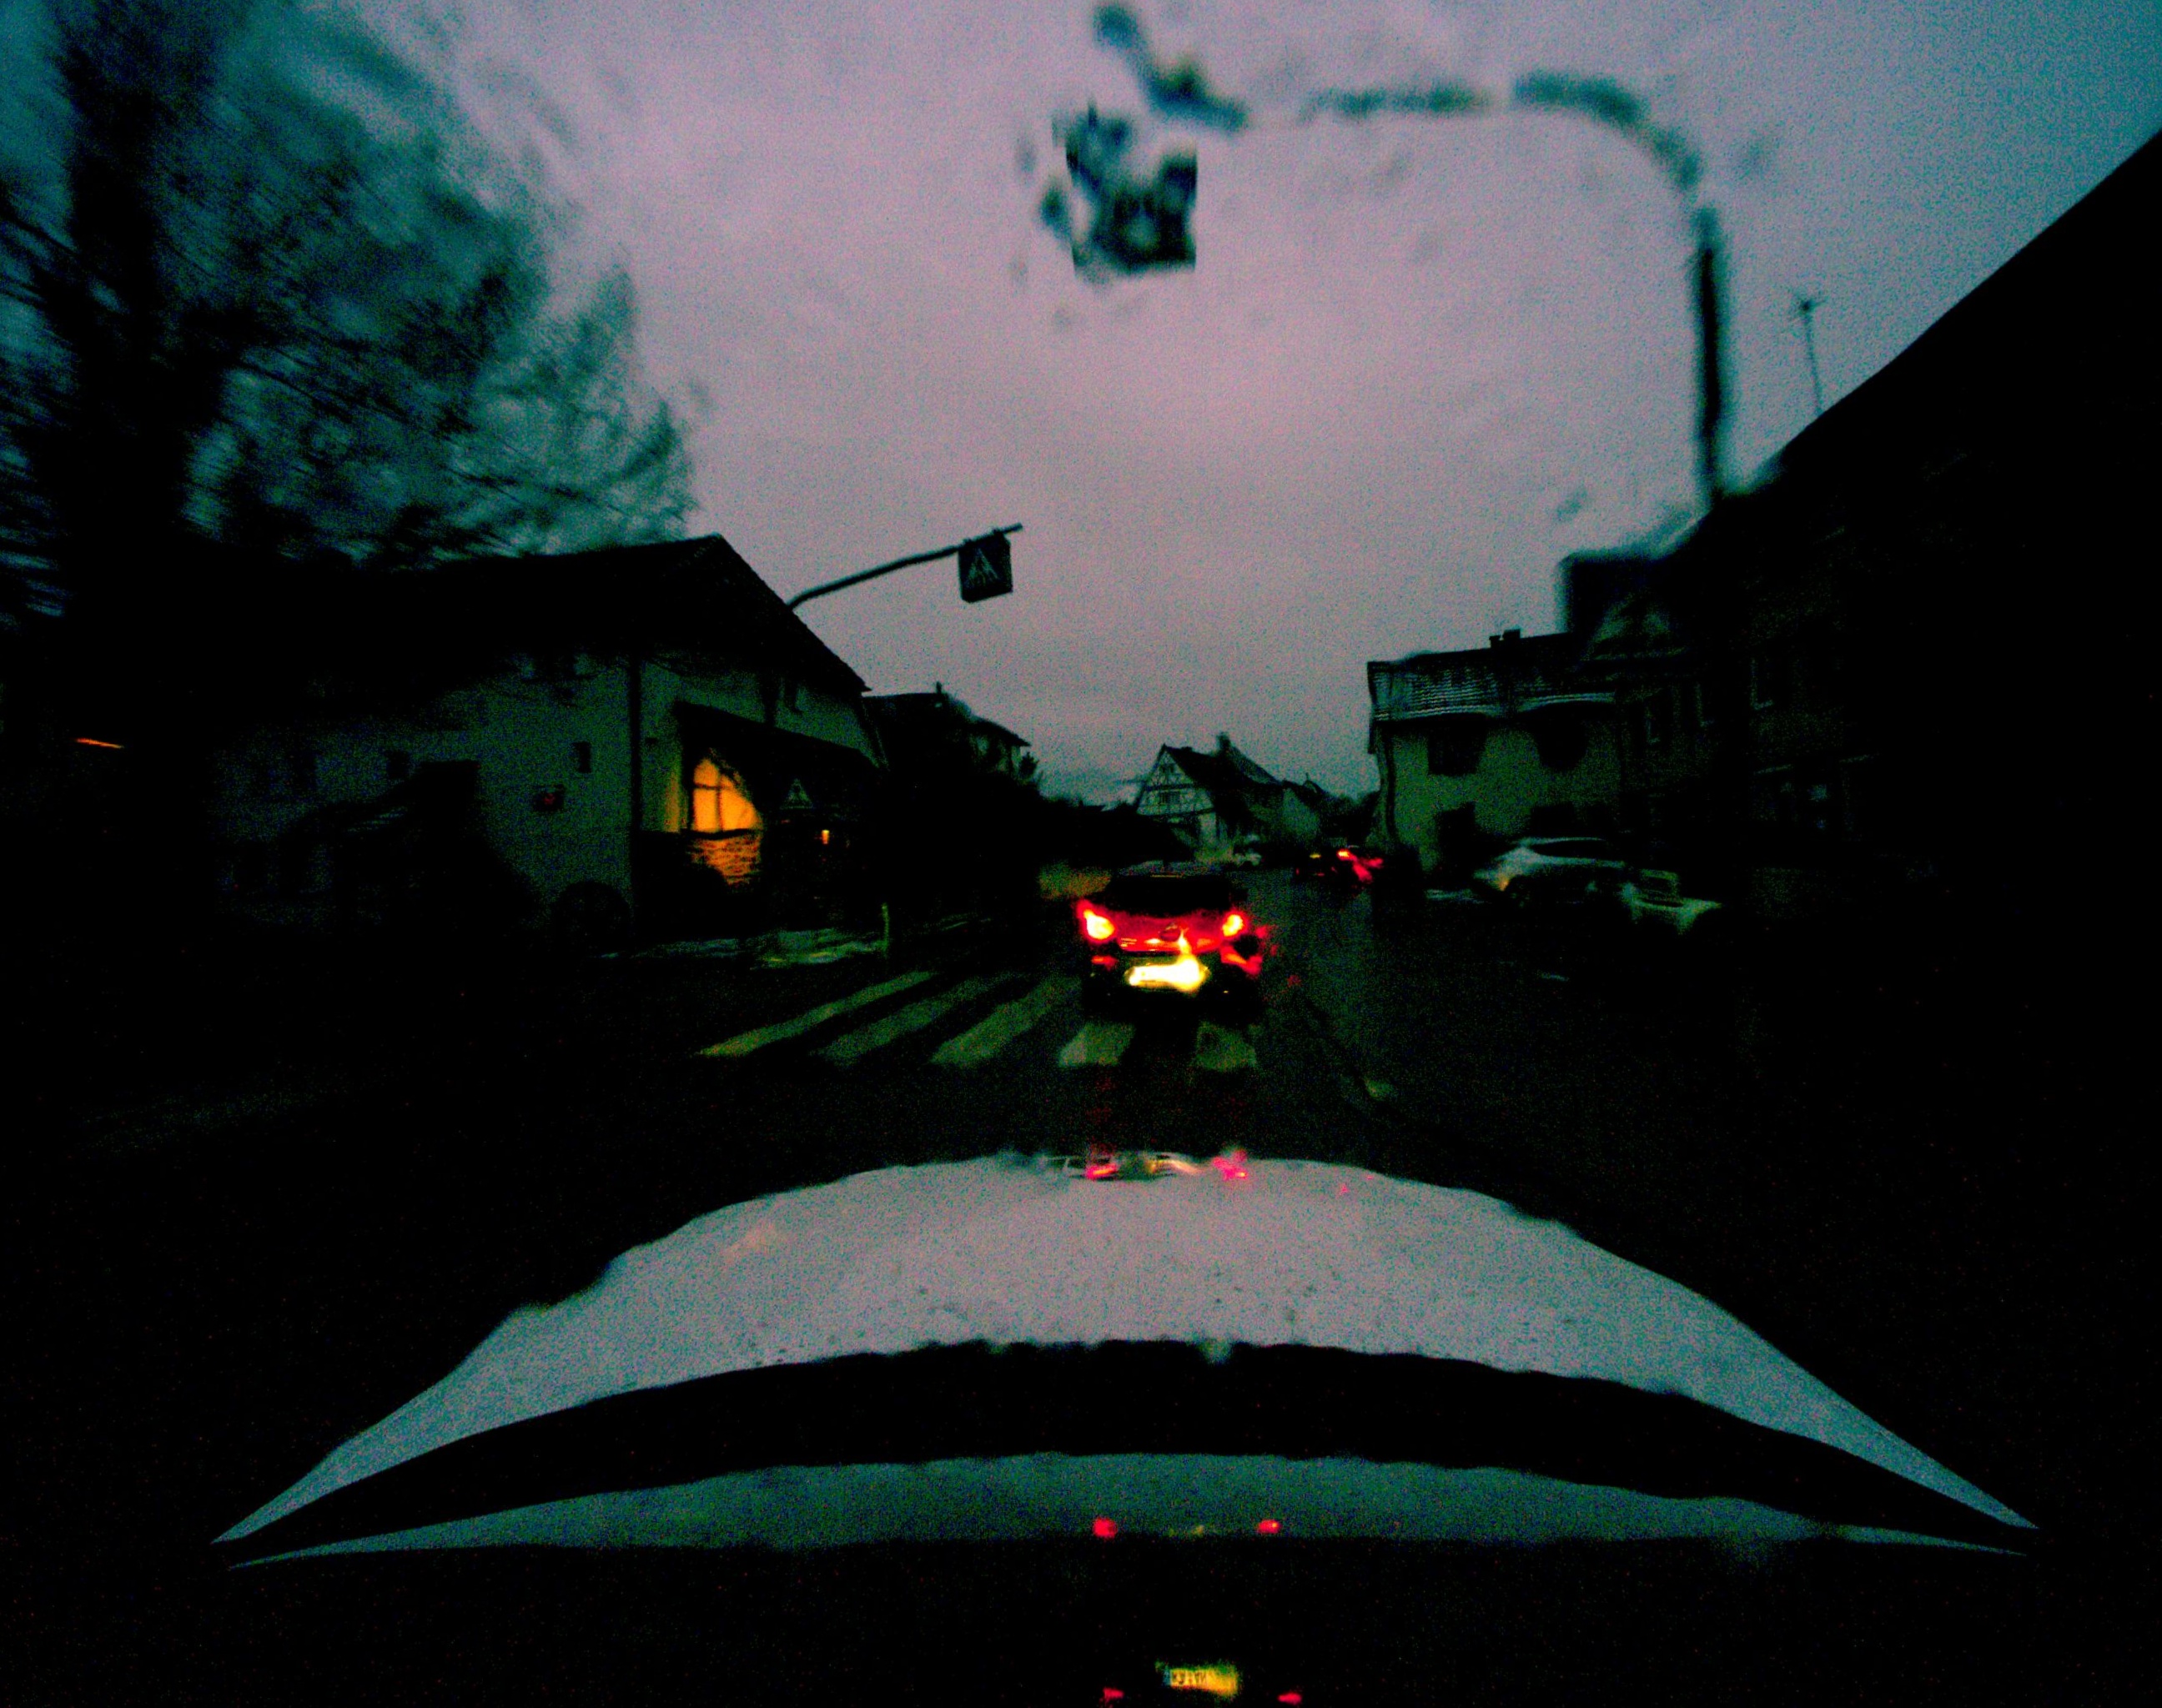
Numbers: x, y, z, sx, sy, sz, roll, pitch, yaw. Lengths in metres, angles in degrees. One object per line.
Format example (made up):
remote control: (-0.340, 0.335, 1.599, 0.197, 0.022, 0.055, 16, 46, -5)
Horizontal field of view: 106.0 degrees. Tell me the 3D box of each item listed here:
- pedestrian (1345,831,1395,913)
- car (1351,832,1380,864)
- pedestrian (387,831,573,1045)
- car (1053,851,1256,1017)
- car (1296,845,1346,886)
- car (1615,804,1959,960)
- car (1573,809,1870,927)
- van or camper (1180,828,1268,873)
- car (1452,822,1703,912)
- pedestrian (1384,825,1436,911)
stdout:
pedestrian: (6.263, 0.376, 17.646, 0.860, 1.667, 0.997, -5, -1, 20)
car: (22.921, -0.475, 65.452, 1.798, 2.413, 3.773, -2, 0, 24)
pedestrian: (-5.290, 0.684, 7.219, 0.872, 1.735, 0.960, -1, 0, 20)
car: (0.846, 0.714, 9.294, 1.786, 1.476, 4.006, -1, 0, 5)
car: (10.487, 0.472, 35.430, 1.832, 1.637, 4.357, -1, 0, 20)
car: (8.087, 0.317, 9.576, 2.565, 1.547, 1.556, -4, 0, 12)
car: (9.329, 0.220, 12.128, 3.042, 1.474, 1.556, -4, -1, 15)
van or camper: (11.072, -0.237, 63.085, 6.003, 2.955, 2.421, -5, -2, 28)
car: (9.659, 0.256, 16.181, 3.871, 1.474, 1.758, -4, -1, 15)
pedestrian: (6.984, 0.286, 17.332, 0.841, 1.733, 0.977, -5, -1, 20)
